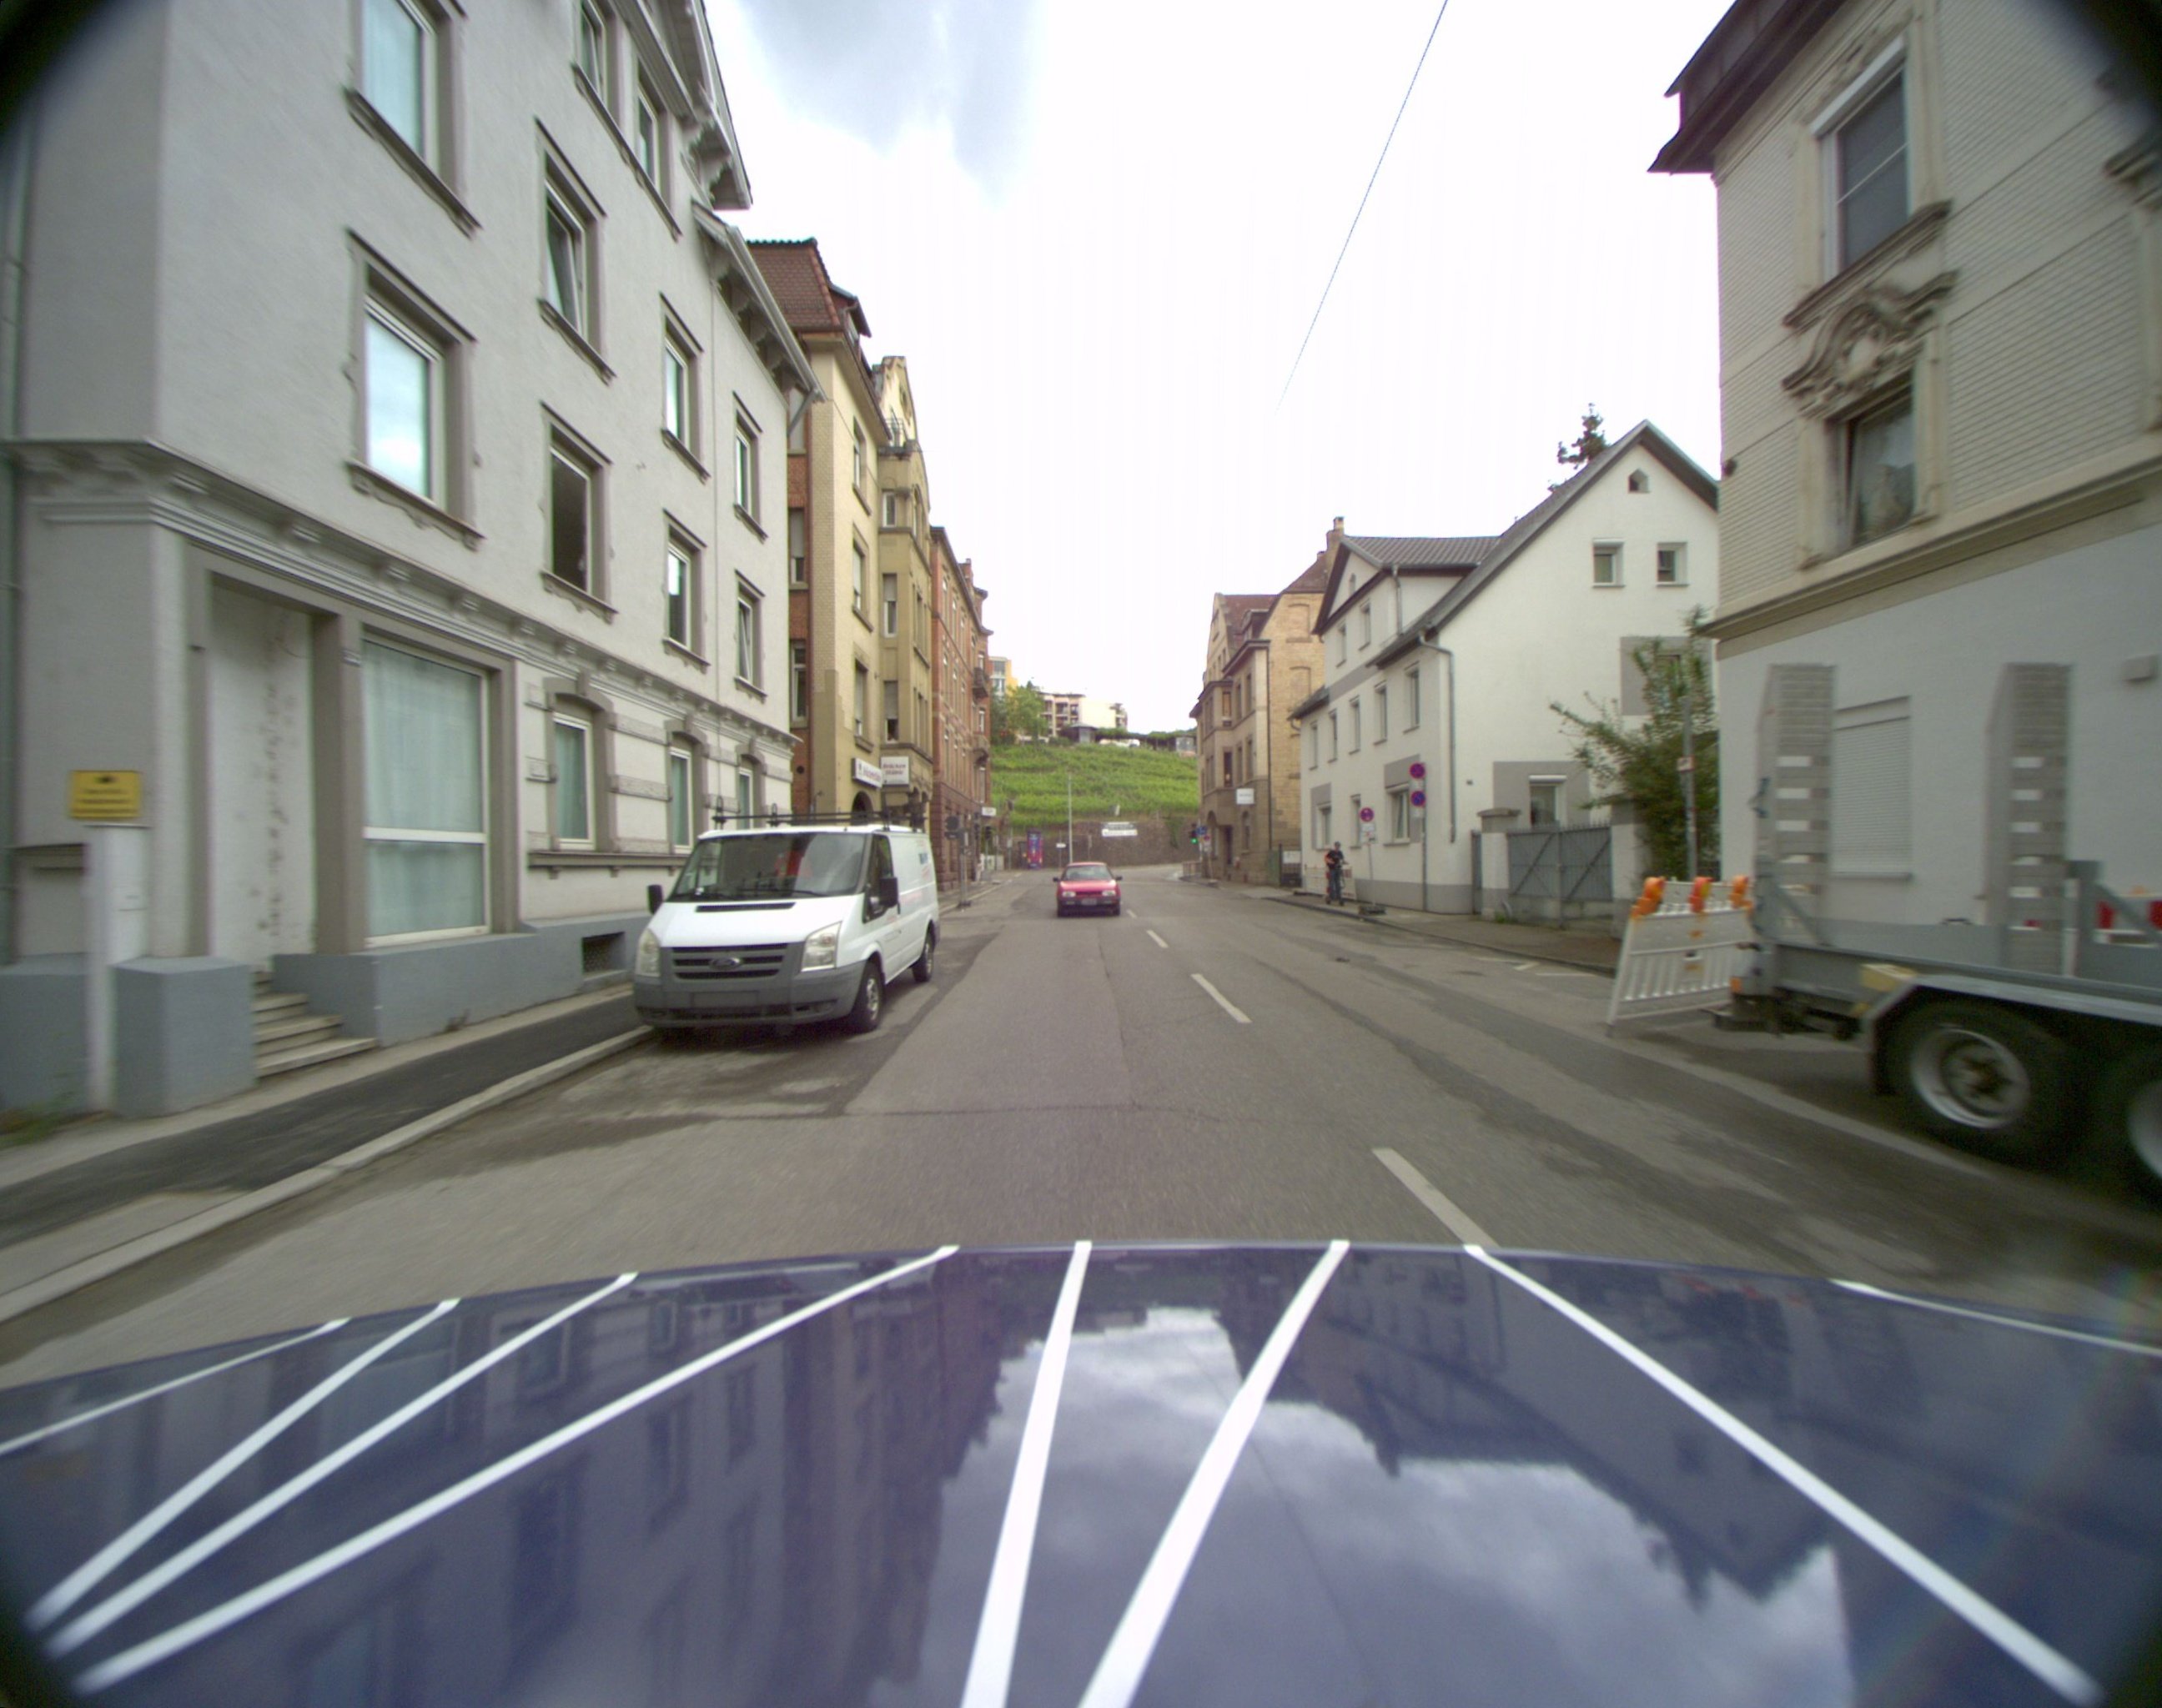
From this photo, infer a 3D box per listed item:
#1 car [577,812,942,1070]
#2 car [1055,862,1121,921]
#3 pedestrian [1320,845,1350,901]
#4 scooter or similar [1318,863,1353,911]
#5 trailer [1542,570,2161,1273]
[{"bbox_3d":[-2.948,0.671,8.365,1.999,1.970,4.877,-1,0,-2],"label":"car"},{"bbox_3d":[0.206,0.971,21.177,1.626,1.387,4.000,-1,0,1],"label":"car"},{"bbox_3d":[7.282,0.535,21.797,0.602,1.557,0.607,-2,1,1],"label":"pedestrian"},{"bbox_3d":[7.313,0.936,21.853,0.561,1.283,1.227,-2,1,-1],"label":"scooter or similar"},{"bbox_3d":[5.532,0.269,4.002,2.451,2.788,6.303,0,0,1],"label":"trailer"}]
